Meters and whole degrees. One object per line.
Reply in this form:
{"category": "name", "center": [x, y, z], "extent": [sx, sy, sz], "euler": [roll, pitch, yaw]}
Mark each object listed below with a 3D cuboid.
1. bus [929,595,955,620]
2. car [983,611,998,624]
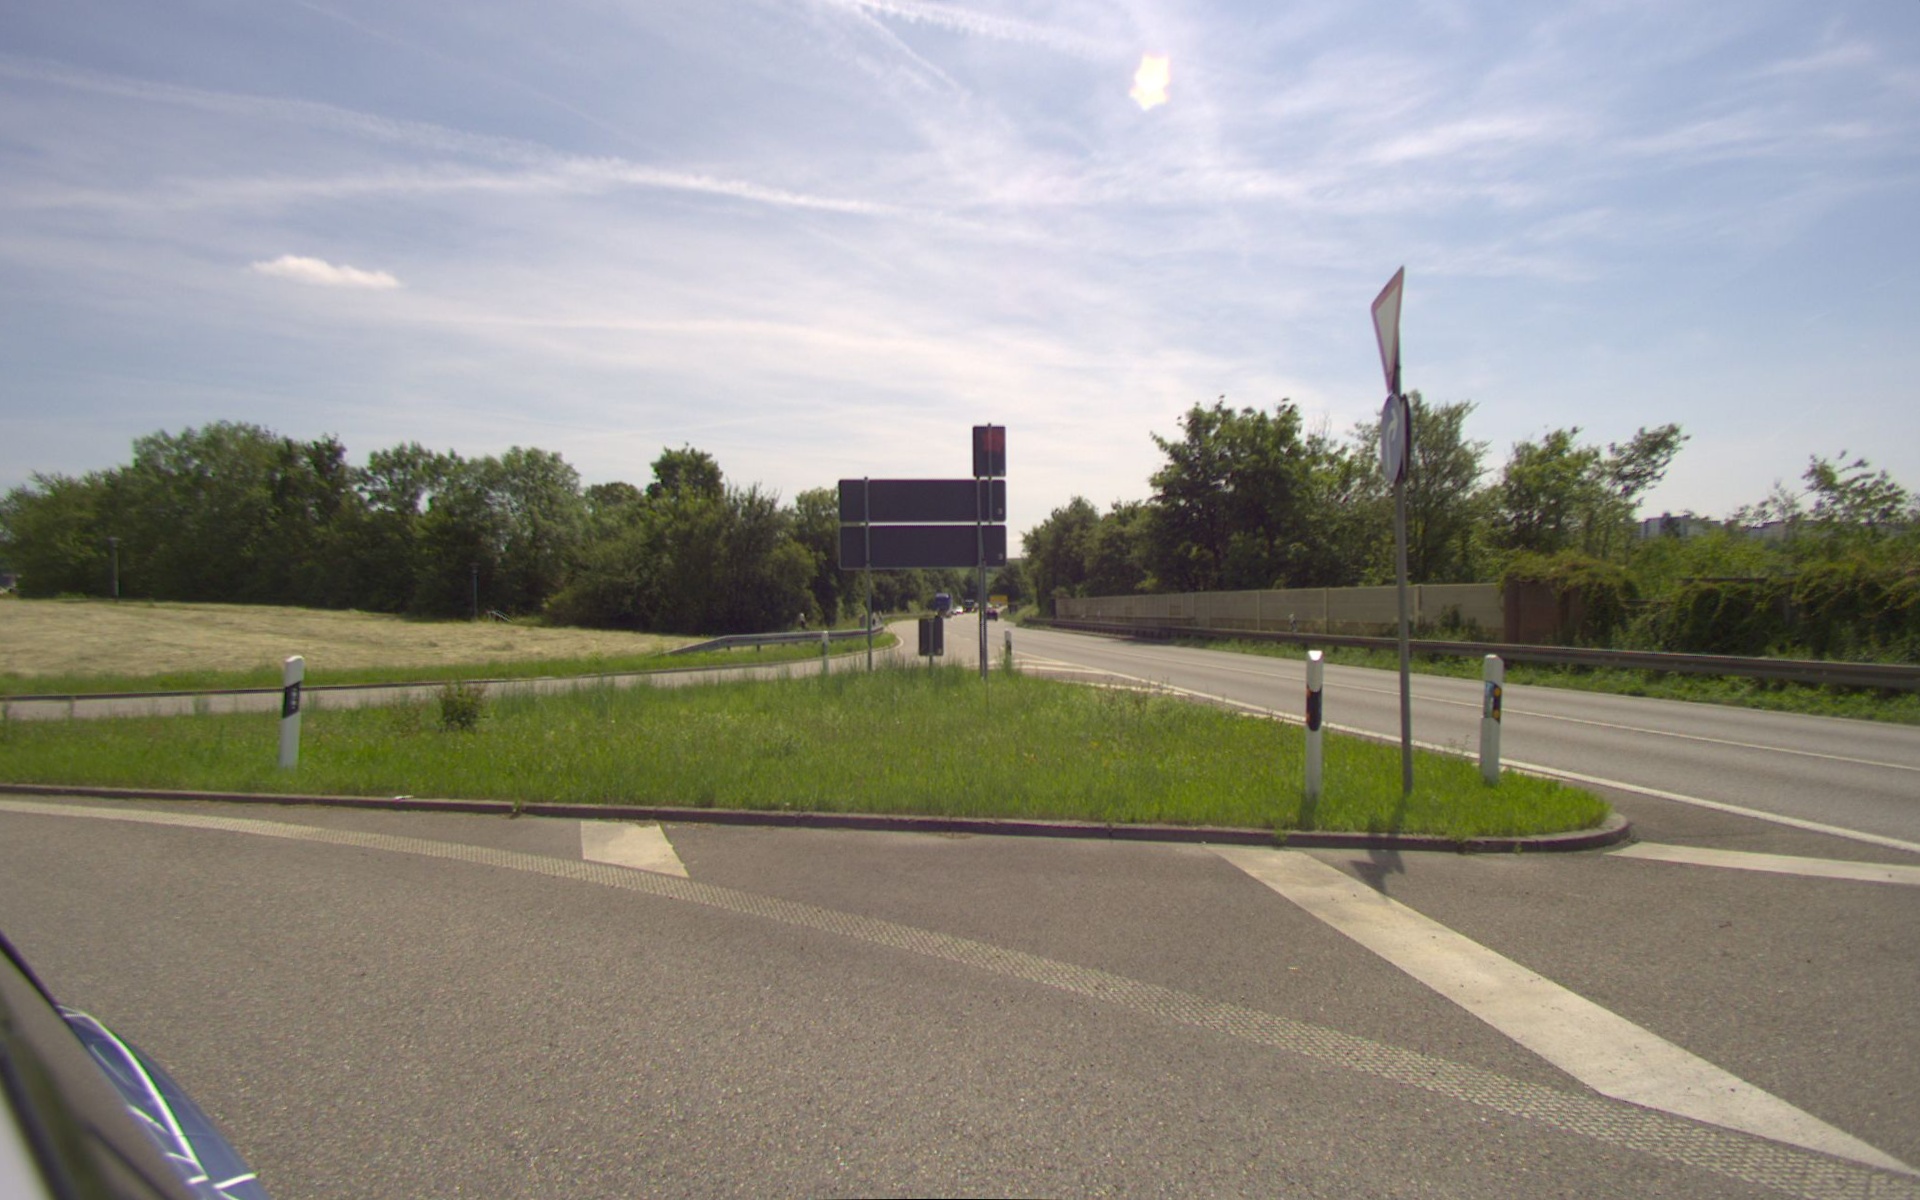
{"category": "bus", "center": [-2.970, 1.253, 170.192], "extent": [3.312, 4.100, 10.495], "euler": [0, 0, 5]}
{"category": "car", "center": [3.973, 2.295, 131.455], "extent": [1.731, 1.550, 4.107], "euler": [-2, 0, 0]}
